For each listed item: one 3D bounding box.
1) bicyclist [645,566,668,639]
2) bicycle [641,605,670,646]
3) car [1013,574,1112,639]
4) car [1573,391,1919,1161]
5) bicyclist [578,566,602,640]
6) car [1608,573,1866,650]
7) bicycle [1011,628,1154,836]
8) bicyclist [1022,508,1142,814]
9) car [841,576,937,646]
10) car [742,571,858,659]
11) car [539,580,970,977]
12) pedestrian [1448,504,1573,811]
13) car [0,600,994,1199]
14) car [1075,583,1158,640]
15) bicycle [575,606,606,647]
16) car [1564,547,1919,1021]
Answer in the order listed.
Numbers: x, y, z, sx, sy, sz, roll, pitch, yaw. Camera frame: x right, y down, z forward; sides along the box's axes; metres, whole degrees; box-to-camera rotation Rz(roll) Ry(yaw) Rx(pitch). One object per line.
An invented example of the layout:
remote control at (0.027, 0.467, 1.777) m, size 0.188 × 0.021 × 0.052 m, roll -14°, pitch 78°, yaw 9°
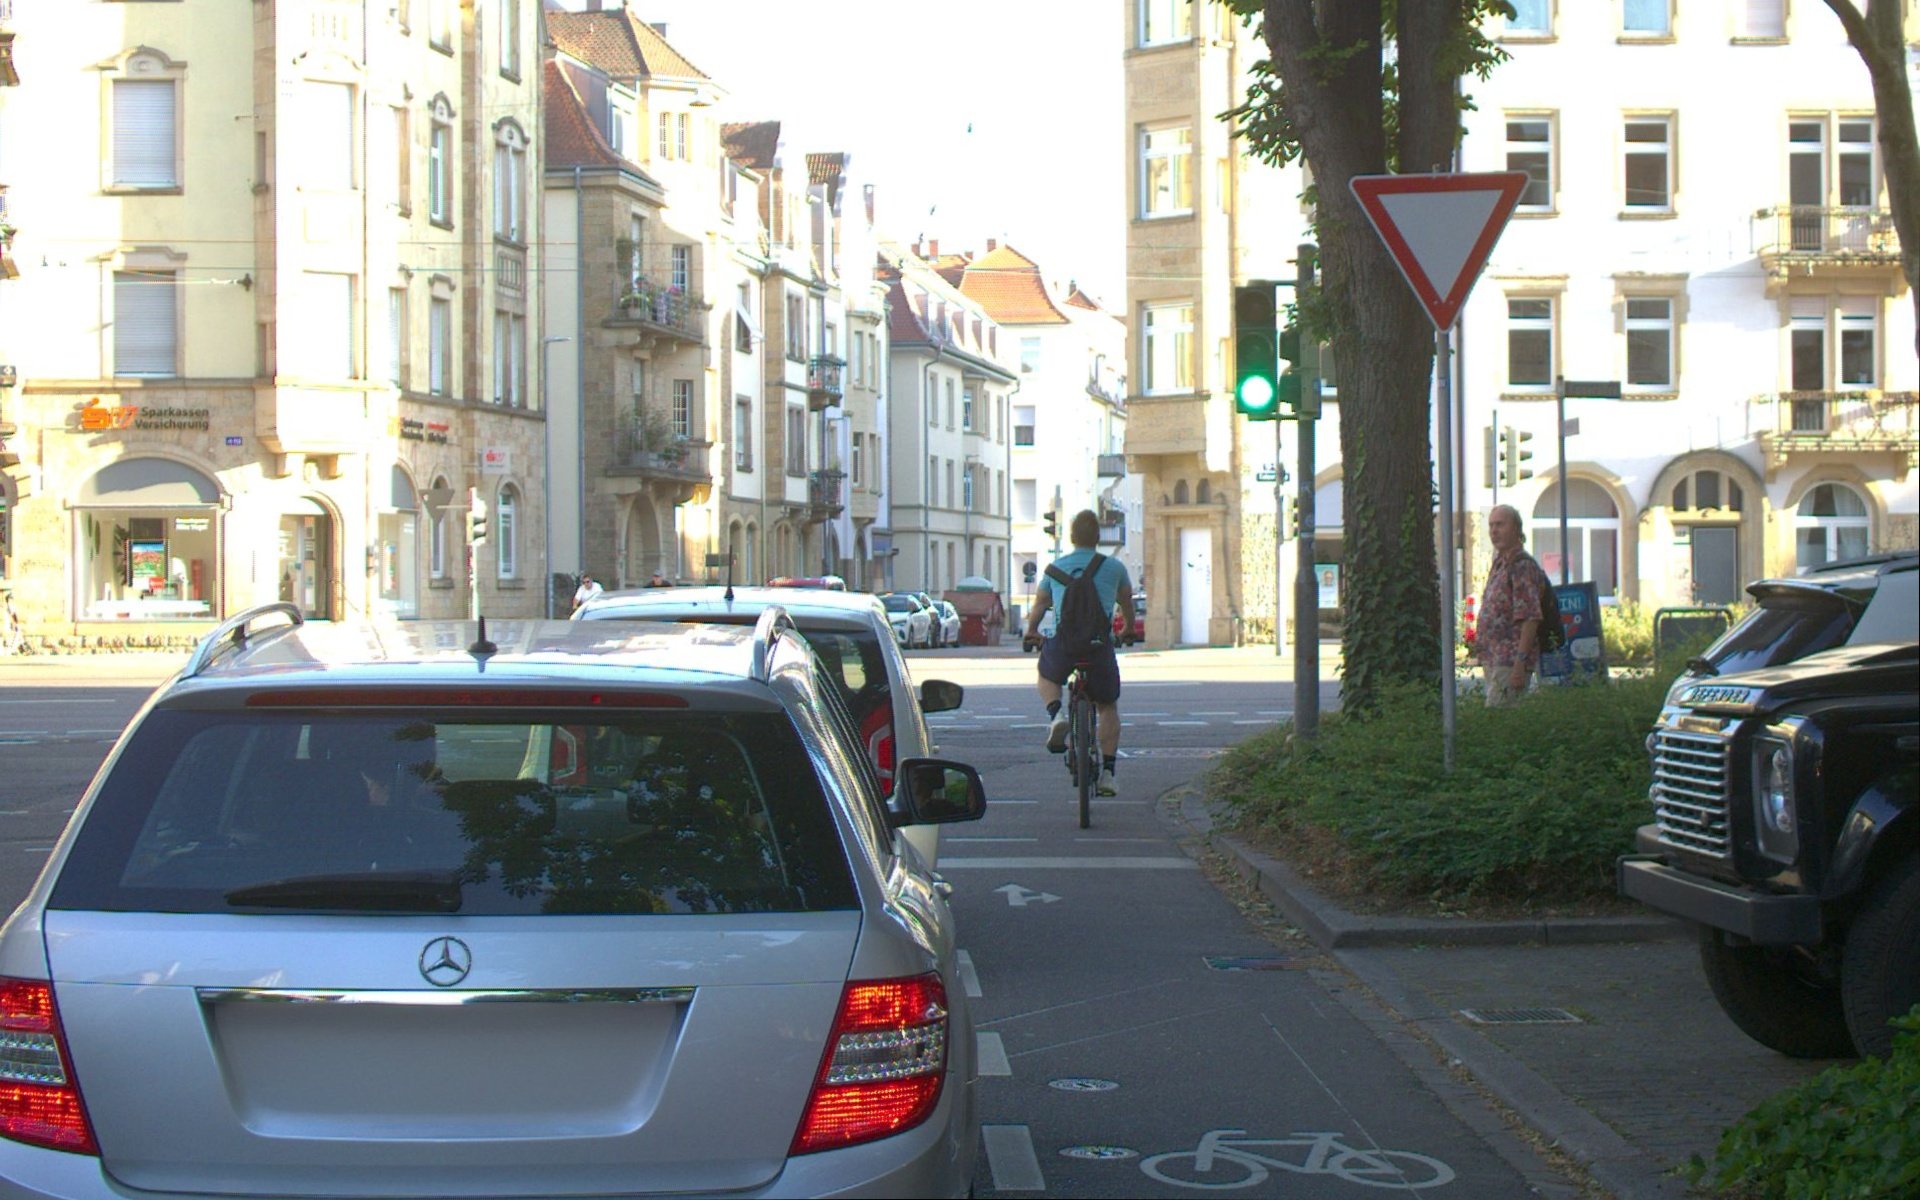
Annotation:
bicyclist at (-6.316, 0.055, 71.594) m, size 0.466 × 1.516 × 0.694 m, roll 0°, pitch 0°, yaw -4°
bicycle at (-6.334, 0.524, 71.631) m, size 0.568 × 0.832 × 1.566 m, roll 0°, pitch 1°, yaw -4°
car at (2.570, 0.144, 85.498) m, size 1.722 × 1.473 × 3.998 m, roll -2°, pitch 1°, yaw 12°
car at (4.204, 0.364, 9.769) m, size 4.490 × 1.949 × 1.793 m, roll -2°, pitch 0°, yaw -3°
bicyclist at (-7.661, 0.060, 71.143) m, size 0.466 × 1.509 × 0.655 m, roll 0°, pitch 0°, yaw -4°
car at (11.080, 0.152, 49.151) m, size 3.364 × 1.065 × 1.380 m, roll 0°, pitch 1°, yaw -1°
bicycle at (0.708, 0.752, 20.388) m, size 0.742 × 1.114 × 2.013 m, roll 1°, pitch 1°, yaw -1°
bicyclist at (0.717, 0.351, 20.382) m, size 0.646 × 1.769 × 0.831 m, roll 1°, pitch 0°, yaw -1°
car at (-1.804, 0.268, 88.041) m, size 1.687 × 1.717 × 3.998 m, roll 0°, pitch 1°, yaw 10°
car at (-3.657, 0.322, 79.324) m, size 1.938 × 1.952 × 4.149 m, roll 0°, pitch 1°, yaw 8°
car at (-0.799, 0.631, 14.100) m, size 1.533 × 1.386 × 3.599 m, roll 0°, pitch 1°, yaw -2°
pedestrian at (3.342, 0.340, 20.908) m, size 0.631 × 1.838 × 0.575 m, roll 0°, pitch 0°, yaw -4°
car at (-0.896, 0.744, 6.910) m, size 1.690 × 1.424 × 3.493 m, roll 1°, pitch 1°, yaw -3°
car at (4.642, 0.320, 101.764) m, size 1.722 × 1.473 × 3.998 m, roll -4°, pitch 0°, yaw 12°
bicycle at (-7.639, 0.543, 71.052) m, size 0.568 × 0.832 × 1.566 m, roll 0°, pitch 1°, yaw -4°
car at (4.182, 0.583, 12.667) m, size 3.480 × 1.581 × 1.711 m, roll -1°, pitch 1°, yaw -6°
